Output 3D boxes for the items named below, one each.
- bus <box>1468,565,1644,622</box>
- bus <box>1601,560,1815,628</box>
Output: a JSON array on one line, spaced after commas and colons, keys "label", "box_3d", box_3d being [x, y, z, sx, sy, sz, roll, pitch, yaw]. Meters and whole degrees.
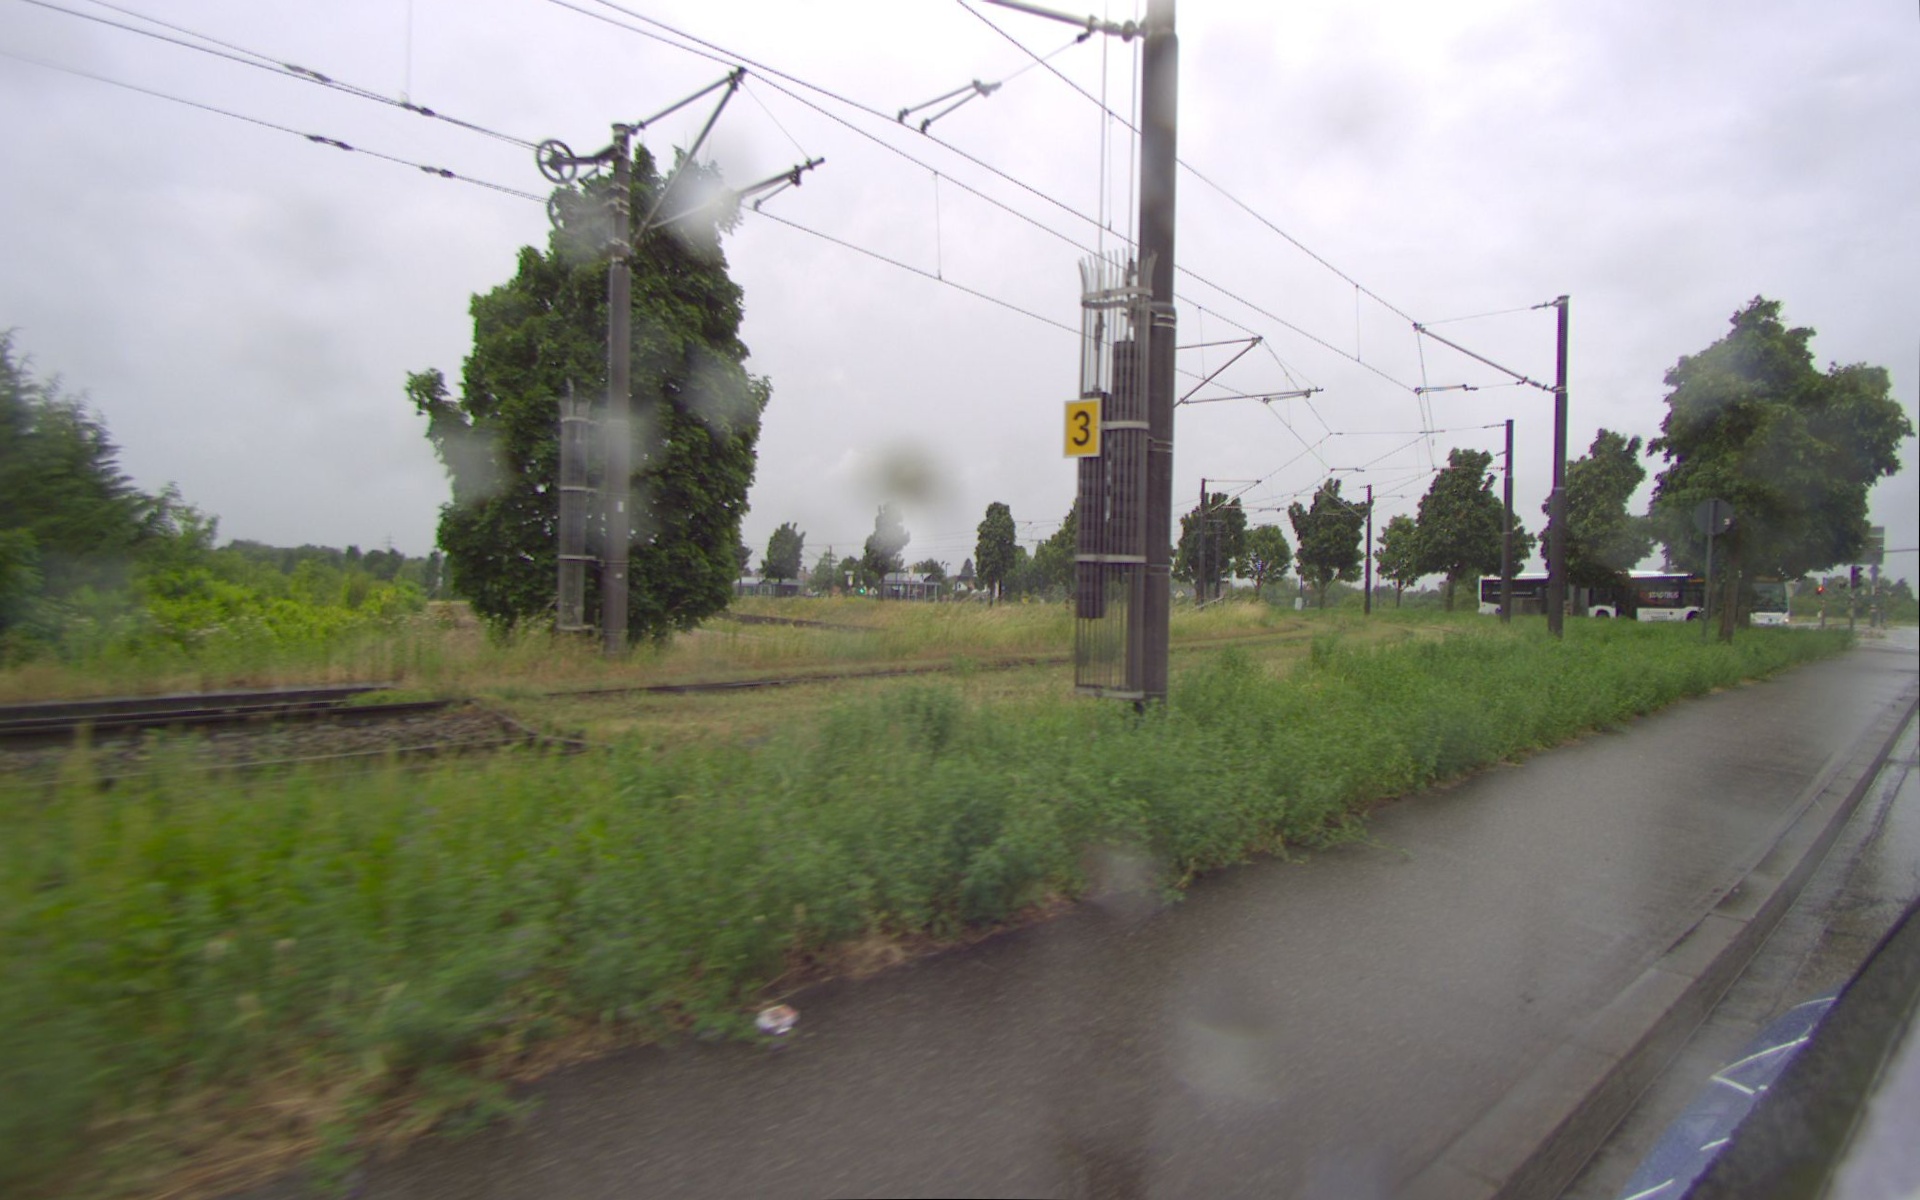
[{"label": "bus", "box_3d": [35.392, -0.402, 60.777, 2.622, 3.116, 10.016, 0, 0, -17]}, {"label": "bus", "box_3d": [37.309, -0.311, 51.166, 2.624, 3.116, 10.006, 0, 0, -6]}]
